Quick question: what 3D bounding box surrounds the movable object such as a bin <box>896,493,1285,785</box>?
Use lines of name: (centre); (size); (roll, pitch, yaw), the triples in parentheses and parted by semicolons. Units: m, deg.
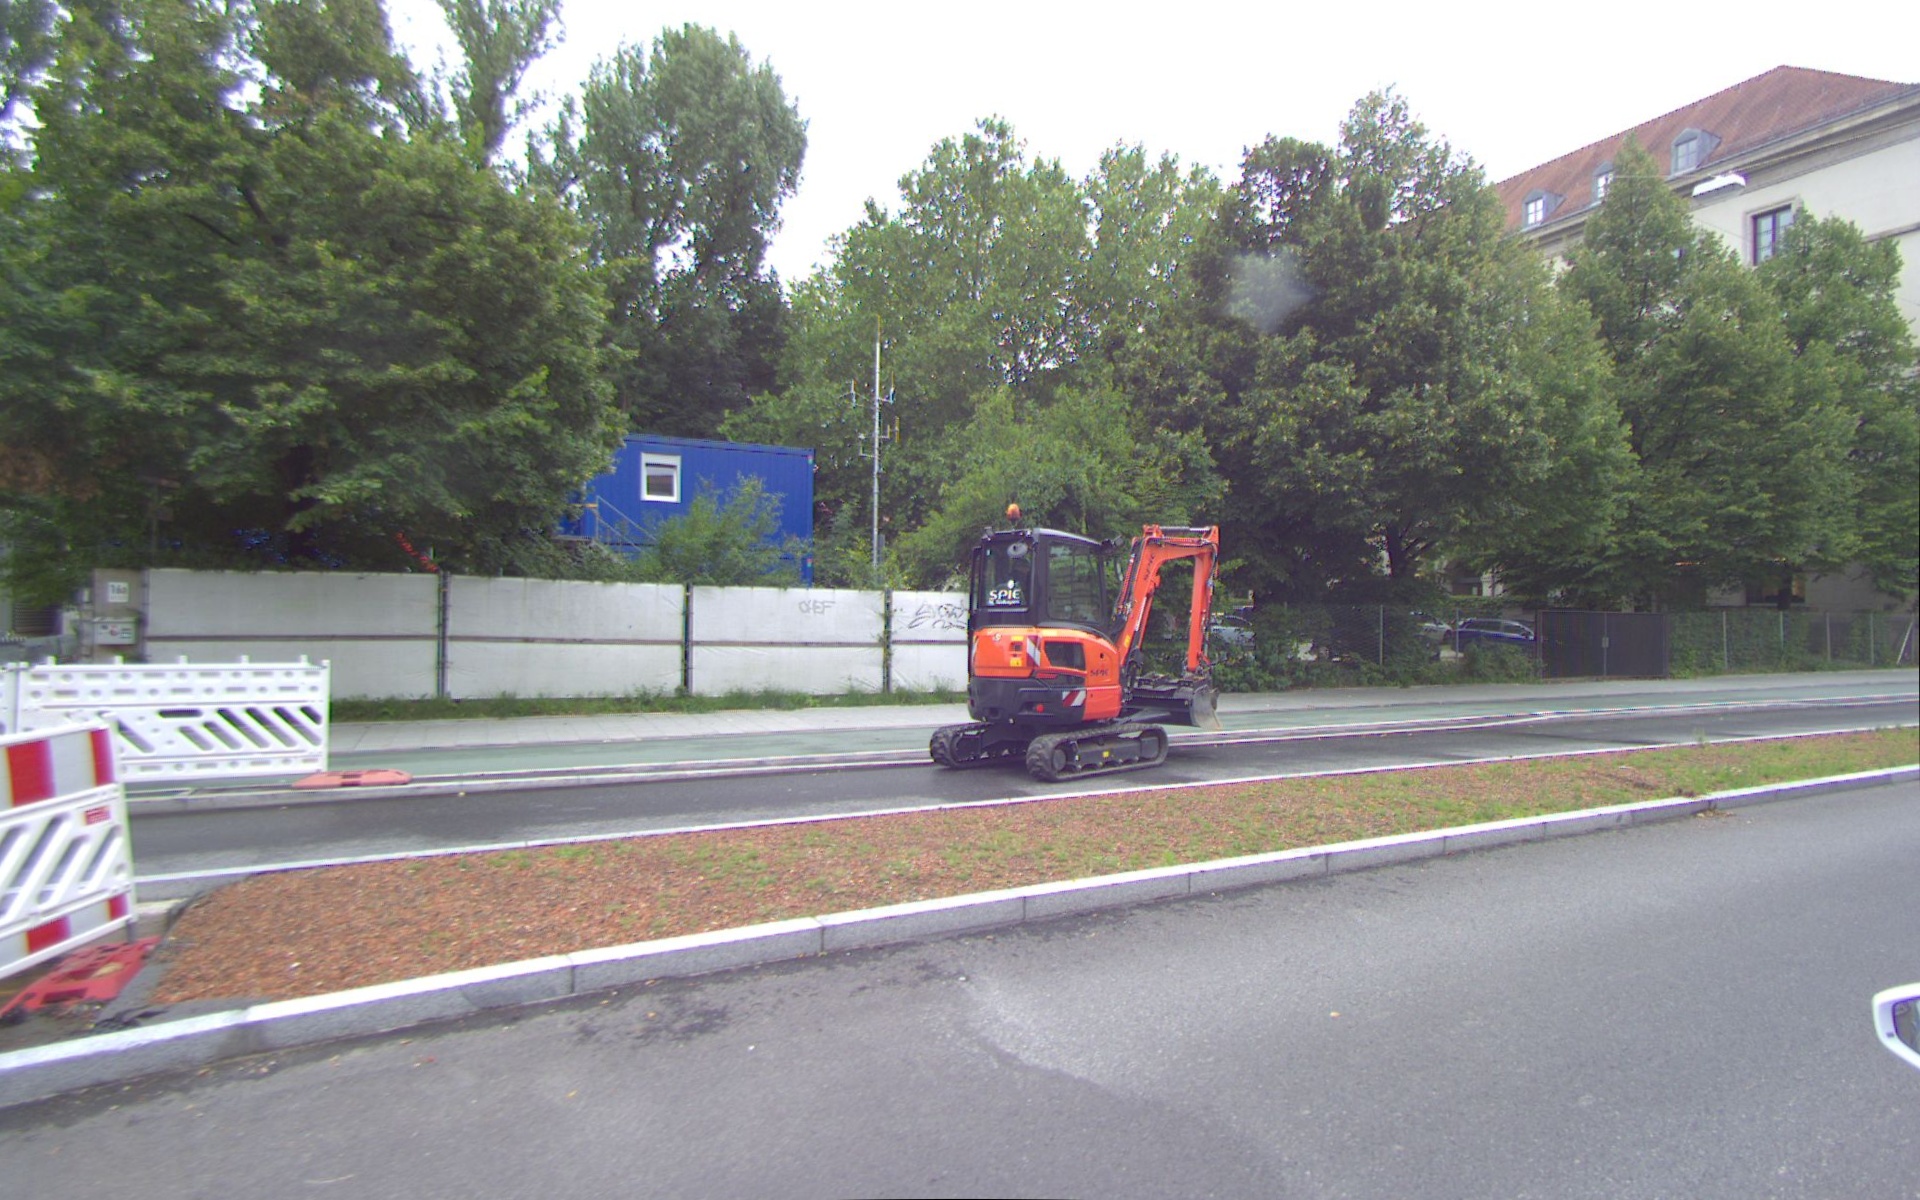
movable object such as a bin: (1.669, 0.409, 11.530); (4.633, 2.676, 1.975); (1, -1, -43)

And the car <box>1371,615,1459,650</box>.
car: (21.481, 1.501, 47.395); (3.893, 1.566, 1.822); (0, 0, -29)

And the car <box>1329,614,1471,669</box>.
car: (13.986, 1.270, 32.139); (1.813, 1.566, 3.910); (0, 0, -29)

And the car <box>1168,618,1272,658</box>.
car: (10.868, 1.535, 41.995); (4.127, 1.566, 1.822); (0, 0, -29)
